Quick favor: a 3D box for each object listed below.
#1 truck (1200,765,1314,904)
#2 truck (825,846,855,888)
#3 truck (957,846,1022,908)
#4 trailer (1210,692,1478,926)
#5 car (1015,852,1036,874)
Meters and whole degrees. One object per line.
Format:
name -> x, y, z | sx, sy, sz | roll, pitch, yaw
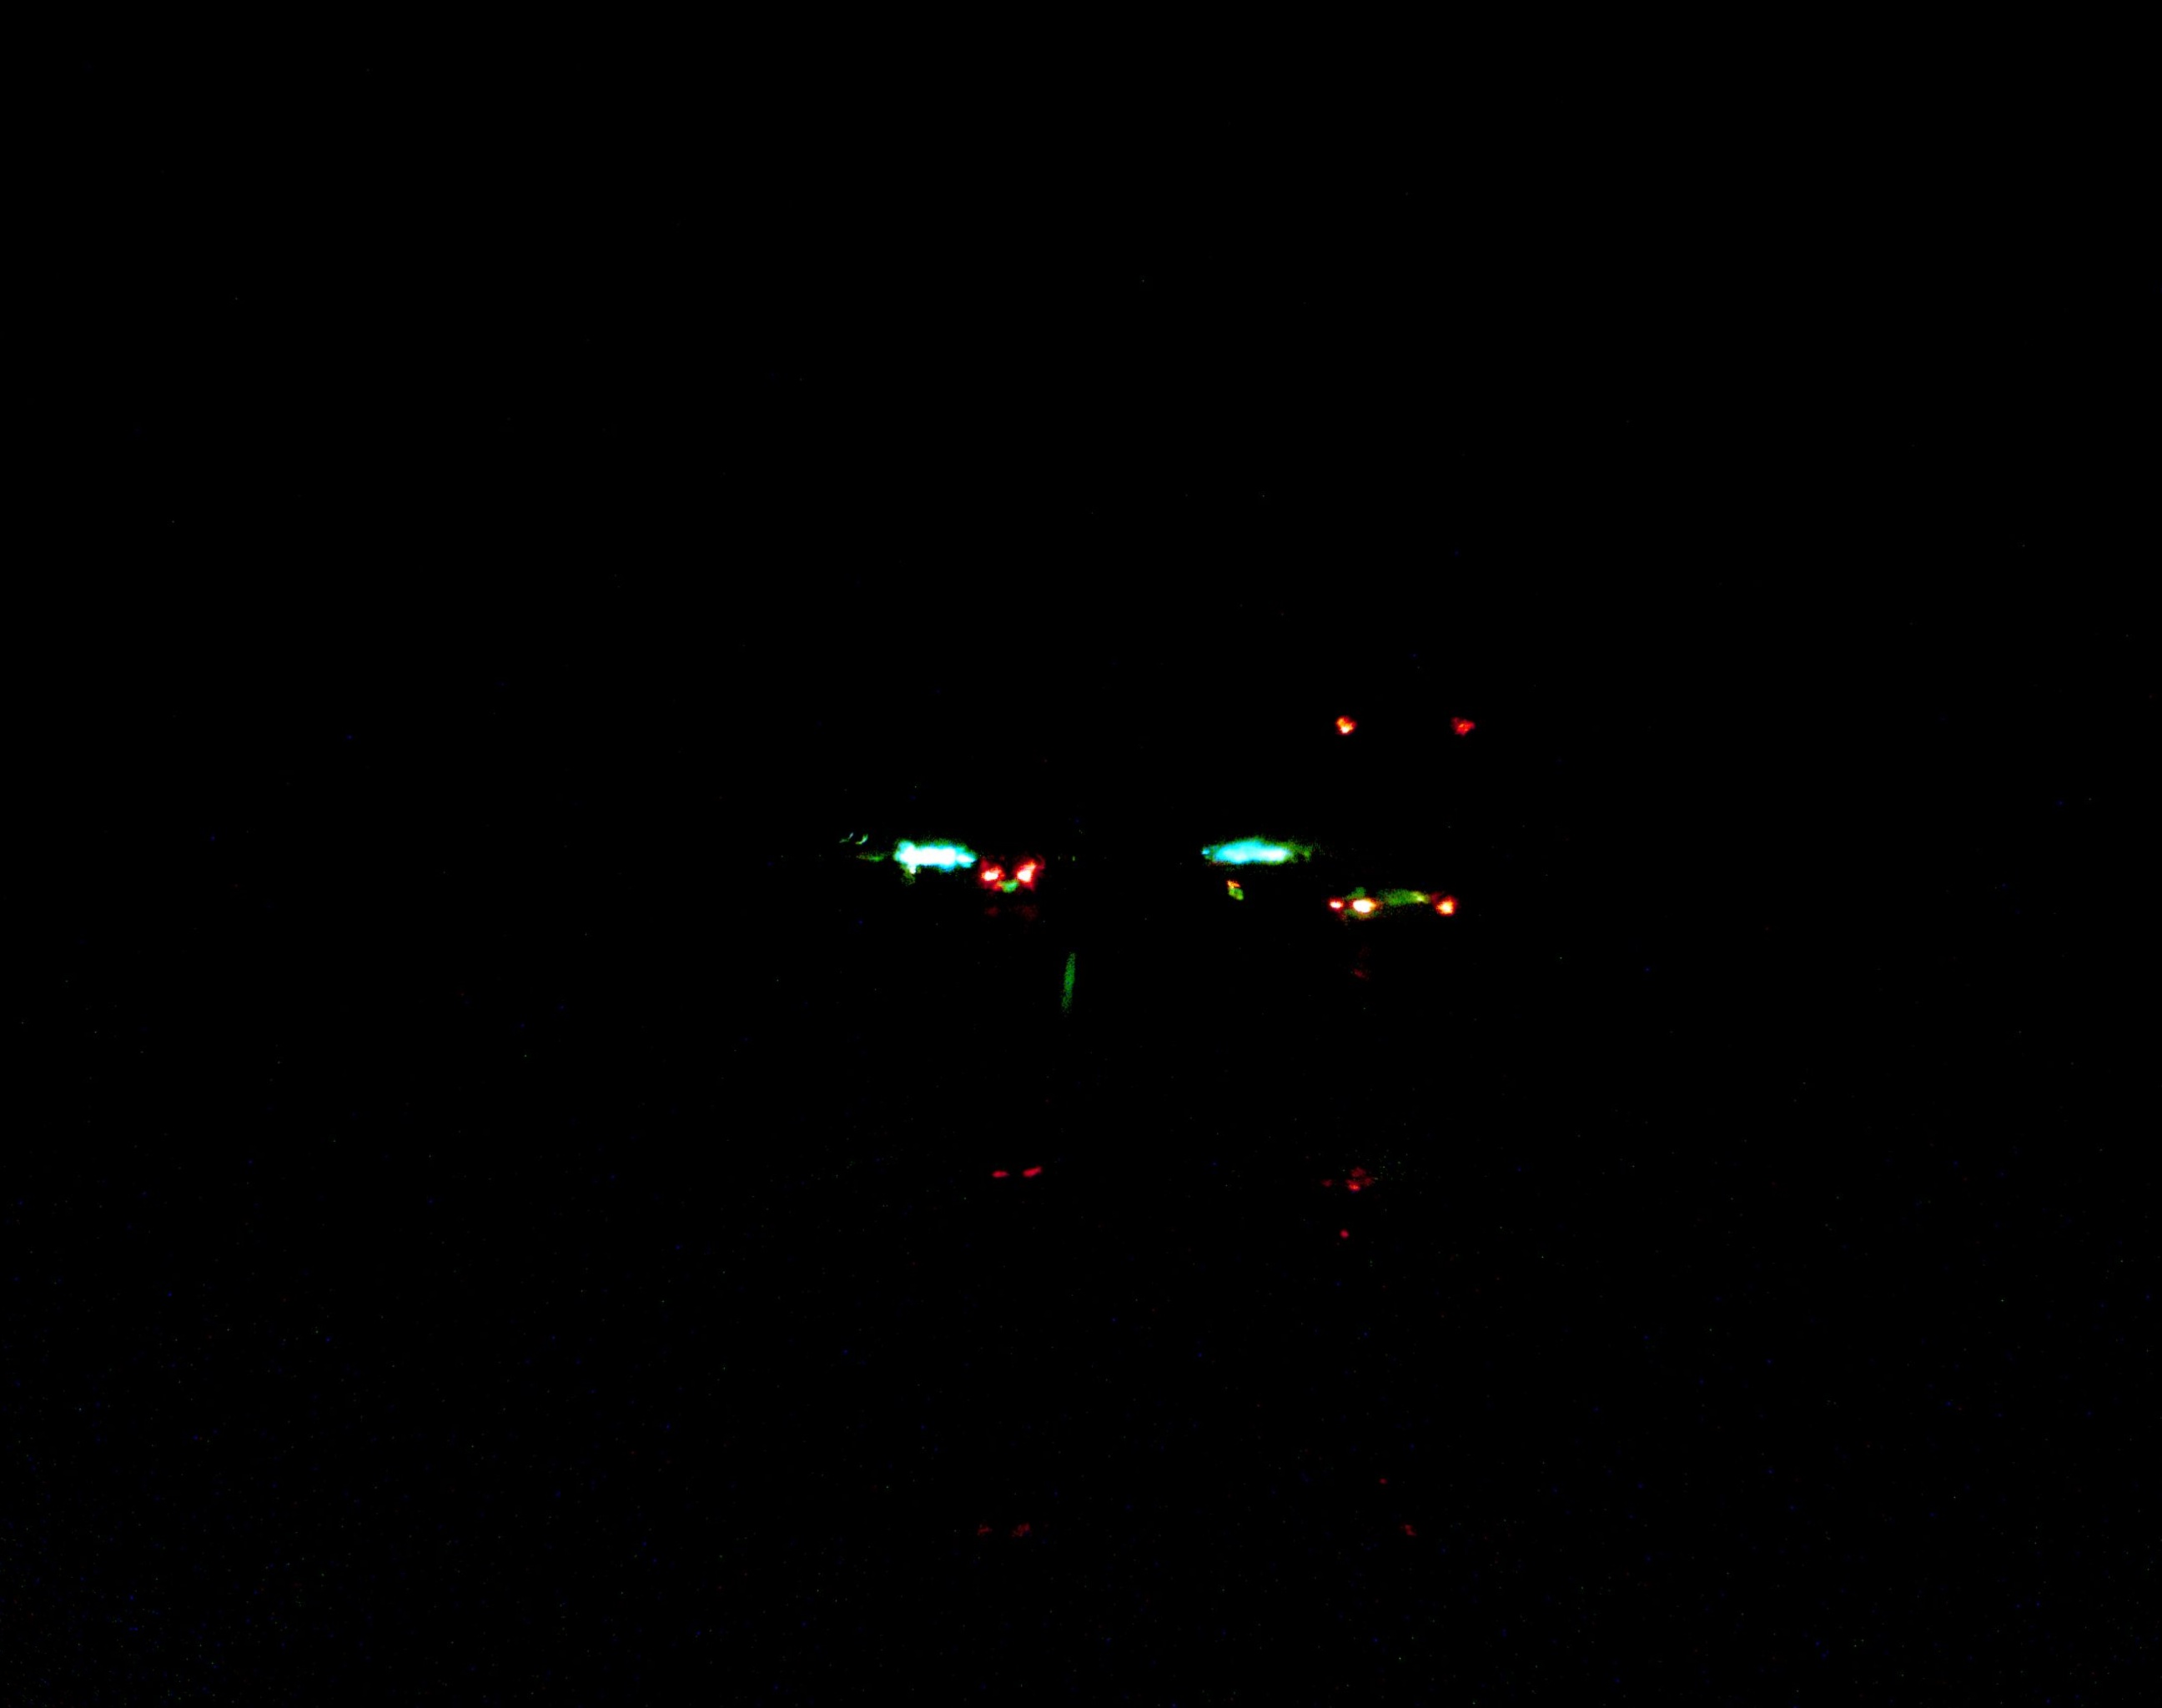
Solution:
truck -> 5.857, -0.601, 27.955 | 2.702, 4.241, 5.292 | -1, 0, 0
truck -> -31.587, 1.634, 106.968 | 2.750, 5.097, 5.868 | 3, 1, -8
truck -> -3.494, 0.794, 32.411 | 2.140, 2.077, 6.597 | 1, 1, -3
trailer -> 5.924, -0.735, 21.742 | 2.730, 4.248, 13.368 | -2, -1, 0
car -> -5.769, 0.905, 85.472 | 1.988, 2.013, 3.997 | 3, 1, -2
